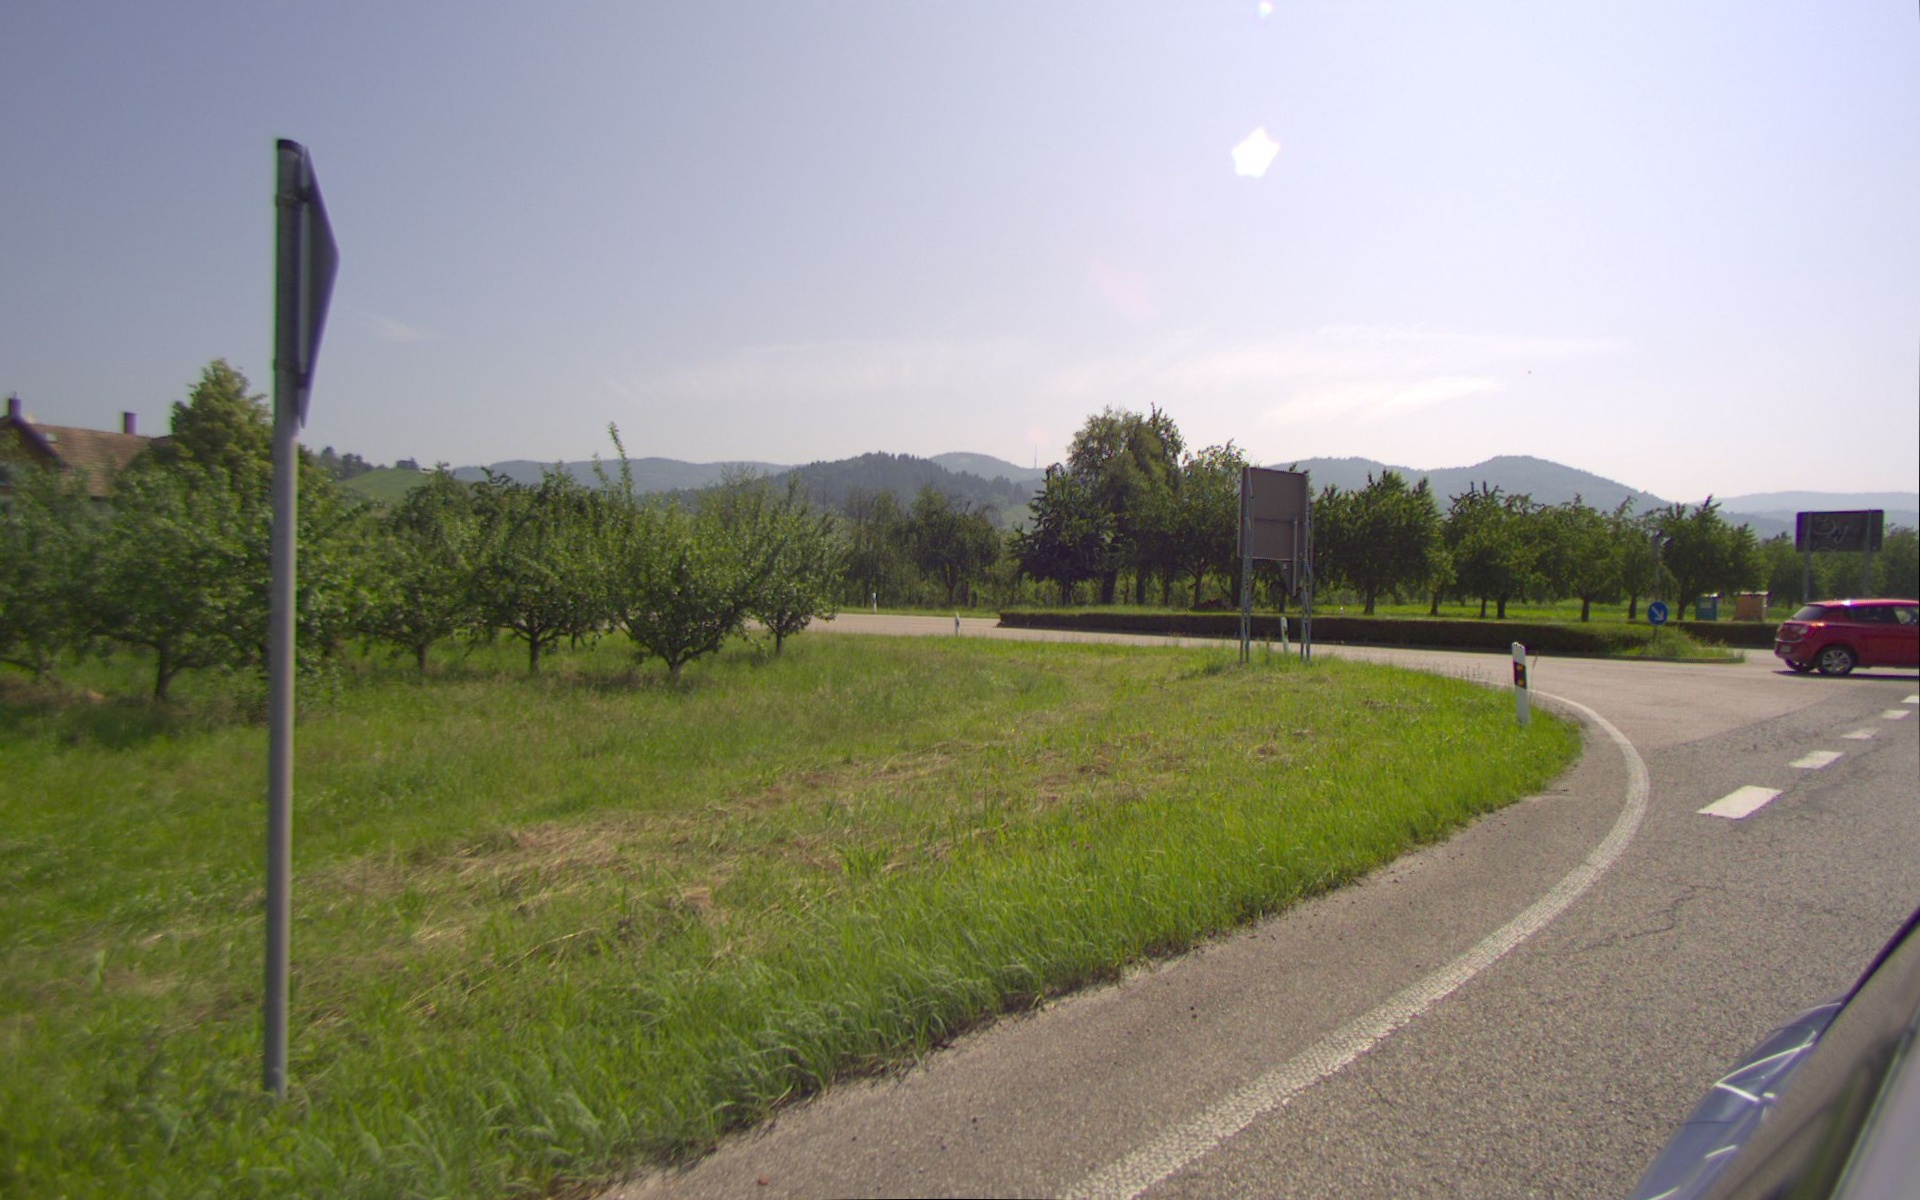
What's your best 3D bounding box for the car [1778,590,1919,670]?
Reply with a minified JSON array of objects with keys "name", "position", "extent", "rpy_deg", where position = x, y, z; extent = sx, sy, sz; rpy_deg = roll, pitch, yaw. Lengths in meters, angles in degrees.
[{"name":"car","position":[18.665,0.569,19.839],"extent":[3.708,1.511,1.660],"rpy_deg":[1,1,22]}]
